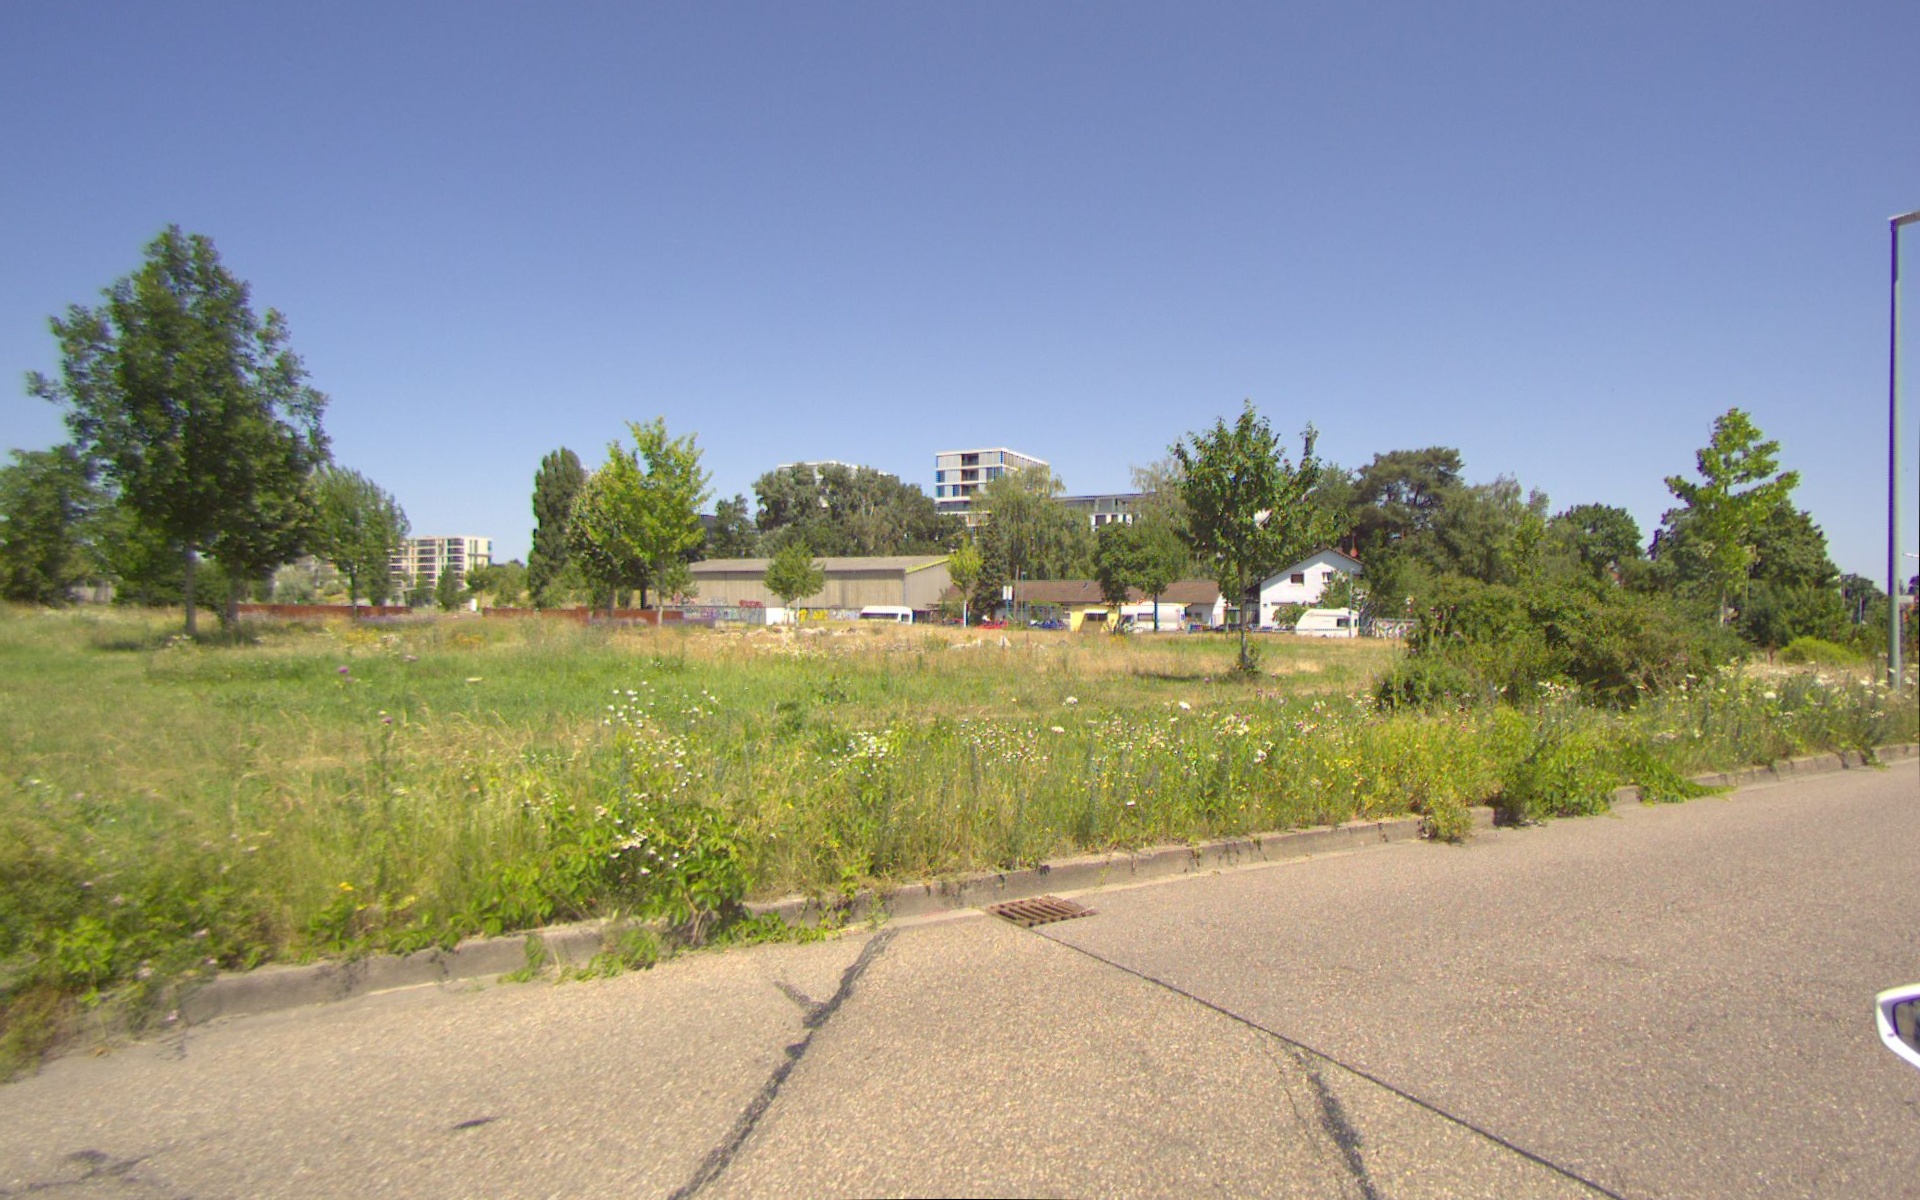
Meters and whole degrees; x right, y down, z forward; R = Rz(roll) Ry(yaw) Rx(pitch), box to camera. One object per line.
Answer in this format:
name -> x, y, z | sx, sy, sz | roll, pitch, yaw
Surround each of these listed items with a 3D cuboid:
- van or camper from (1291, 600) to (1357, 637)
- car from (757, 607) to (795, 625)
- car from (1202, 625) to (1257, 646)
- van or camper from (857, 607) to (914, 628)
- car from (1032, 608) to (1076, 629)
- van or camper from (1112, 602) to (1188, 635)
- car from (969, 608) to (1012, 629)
van or camper -> 28.227, 1.389, 77.874 | 4.387, 2.625, 2.487 | 2, 0, 31
car -> -19.110, 1.684, 104.397 | 3.514, 1.795, 1.755 | 0, -1, 28
car -> 21.880, 2.848, 81.636 | 3.931, 1.572, 1.910 | 0, -1, 33
van or camper -> -7.246, 1.680, 97.340 | 4.966, 1.905, 2.355 | 0, -1, 27
car -> 8.318, 1.597, 88.796 | 3.514, 1.795, 1.755 | 0, -1, 28
van or camper -> 16.002, 1.526, 84.715 | 5.862, 2.628, 2.468 | 0, -1, 30
car -> 2.798, 1.691, 92.105 | 3.514, 1.795, 1.755 | 0, -1, 28
